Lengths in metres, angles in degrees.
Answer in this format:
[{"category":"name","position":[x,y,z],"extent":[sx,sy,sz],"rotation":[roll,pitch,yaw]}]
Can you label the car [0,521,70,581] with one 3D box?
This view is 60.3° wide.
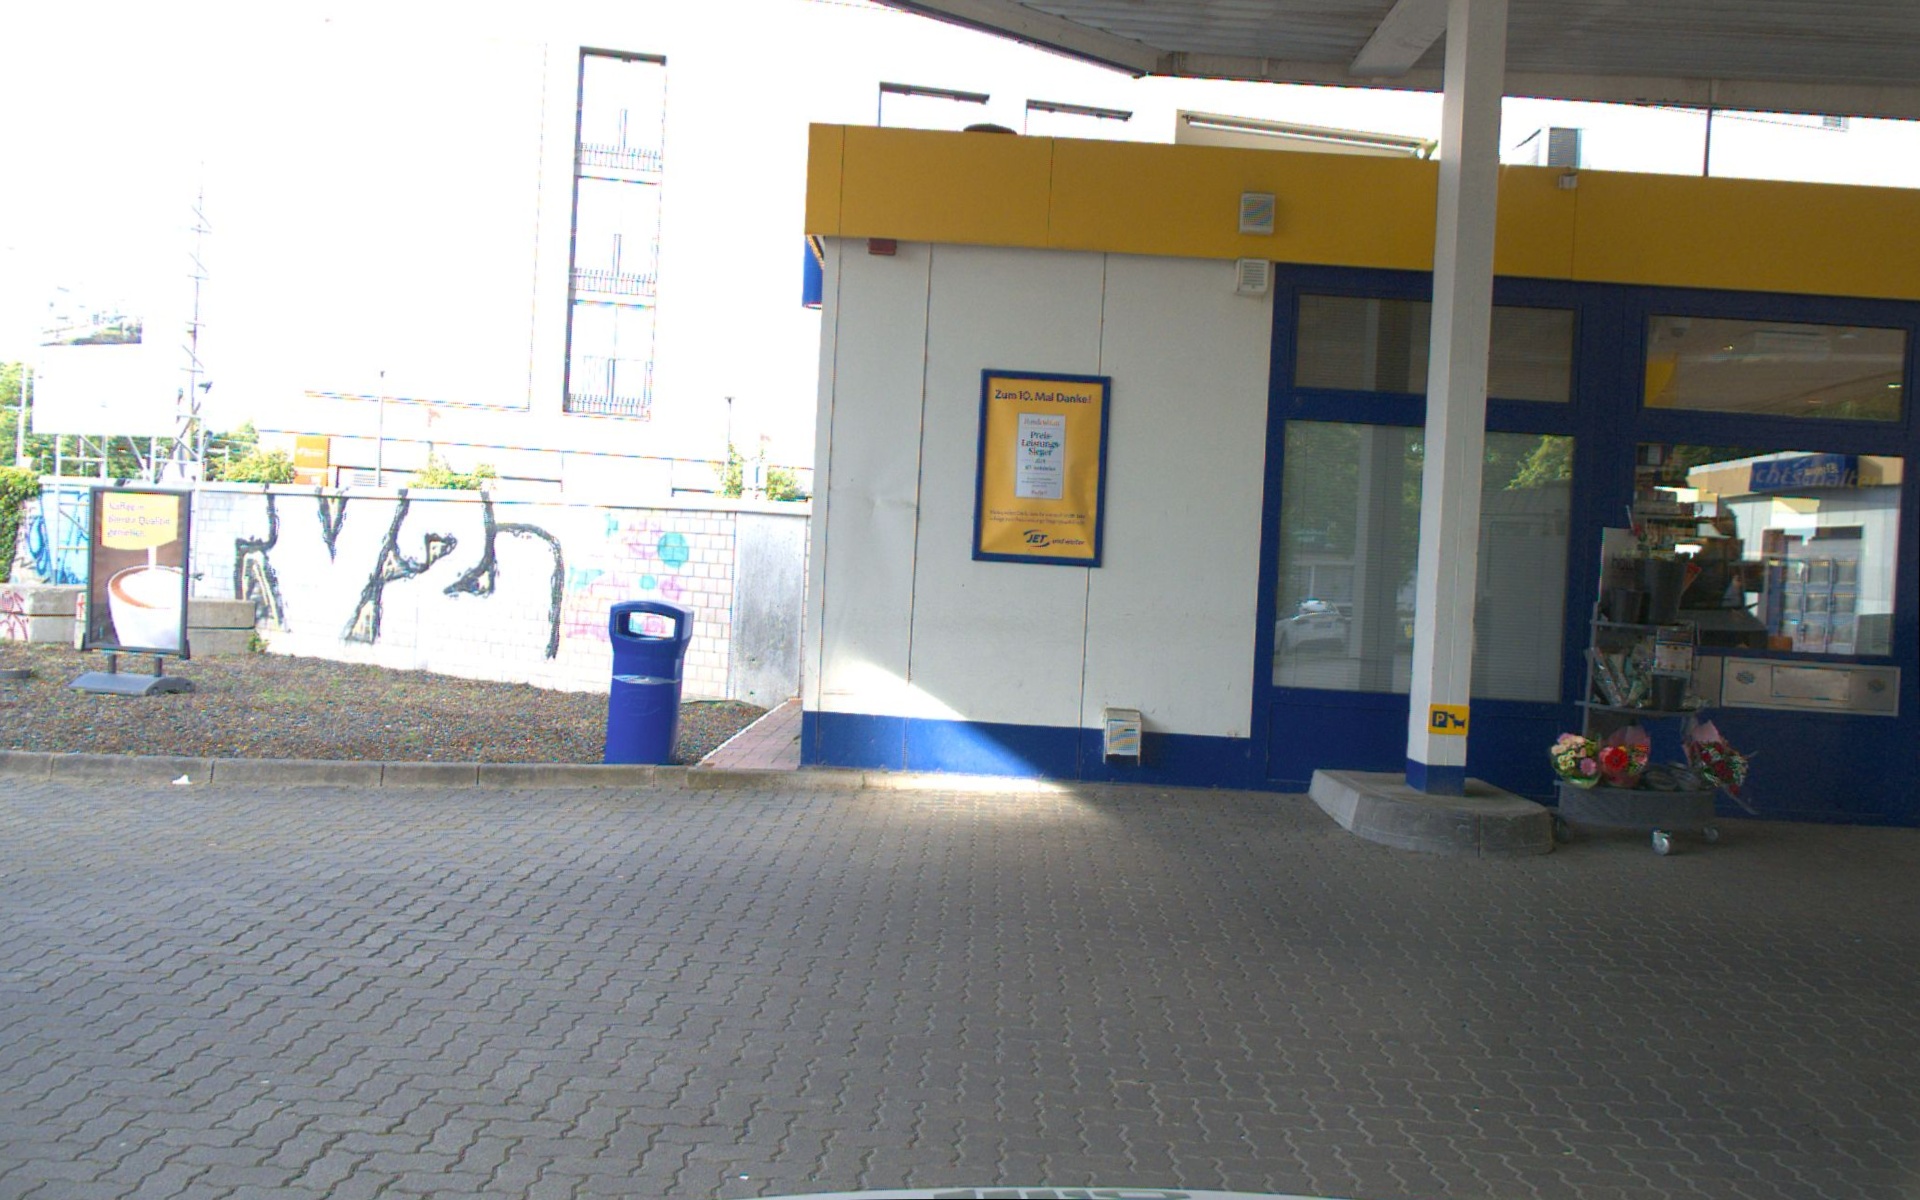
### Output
[{"category":"car","position":[-25.414,-1.342,44.448],"extent":[1.721,1.494,4.549],"rotation":[3,1,-17]}]
